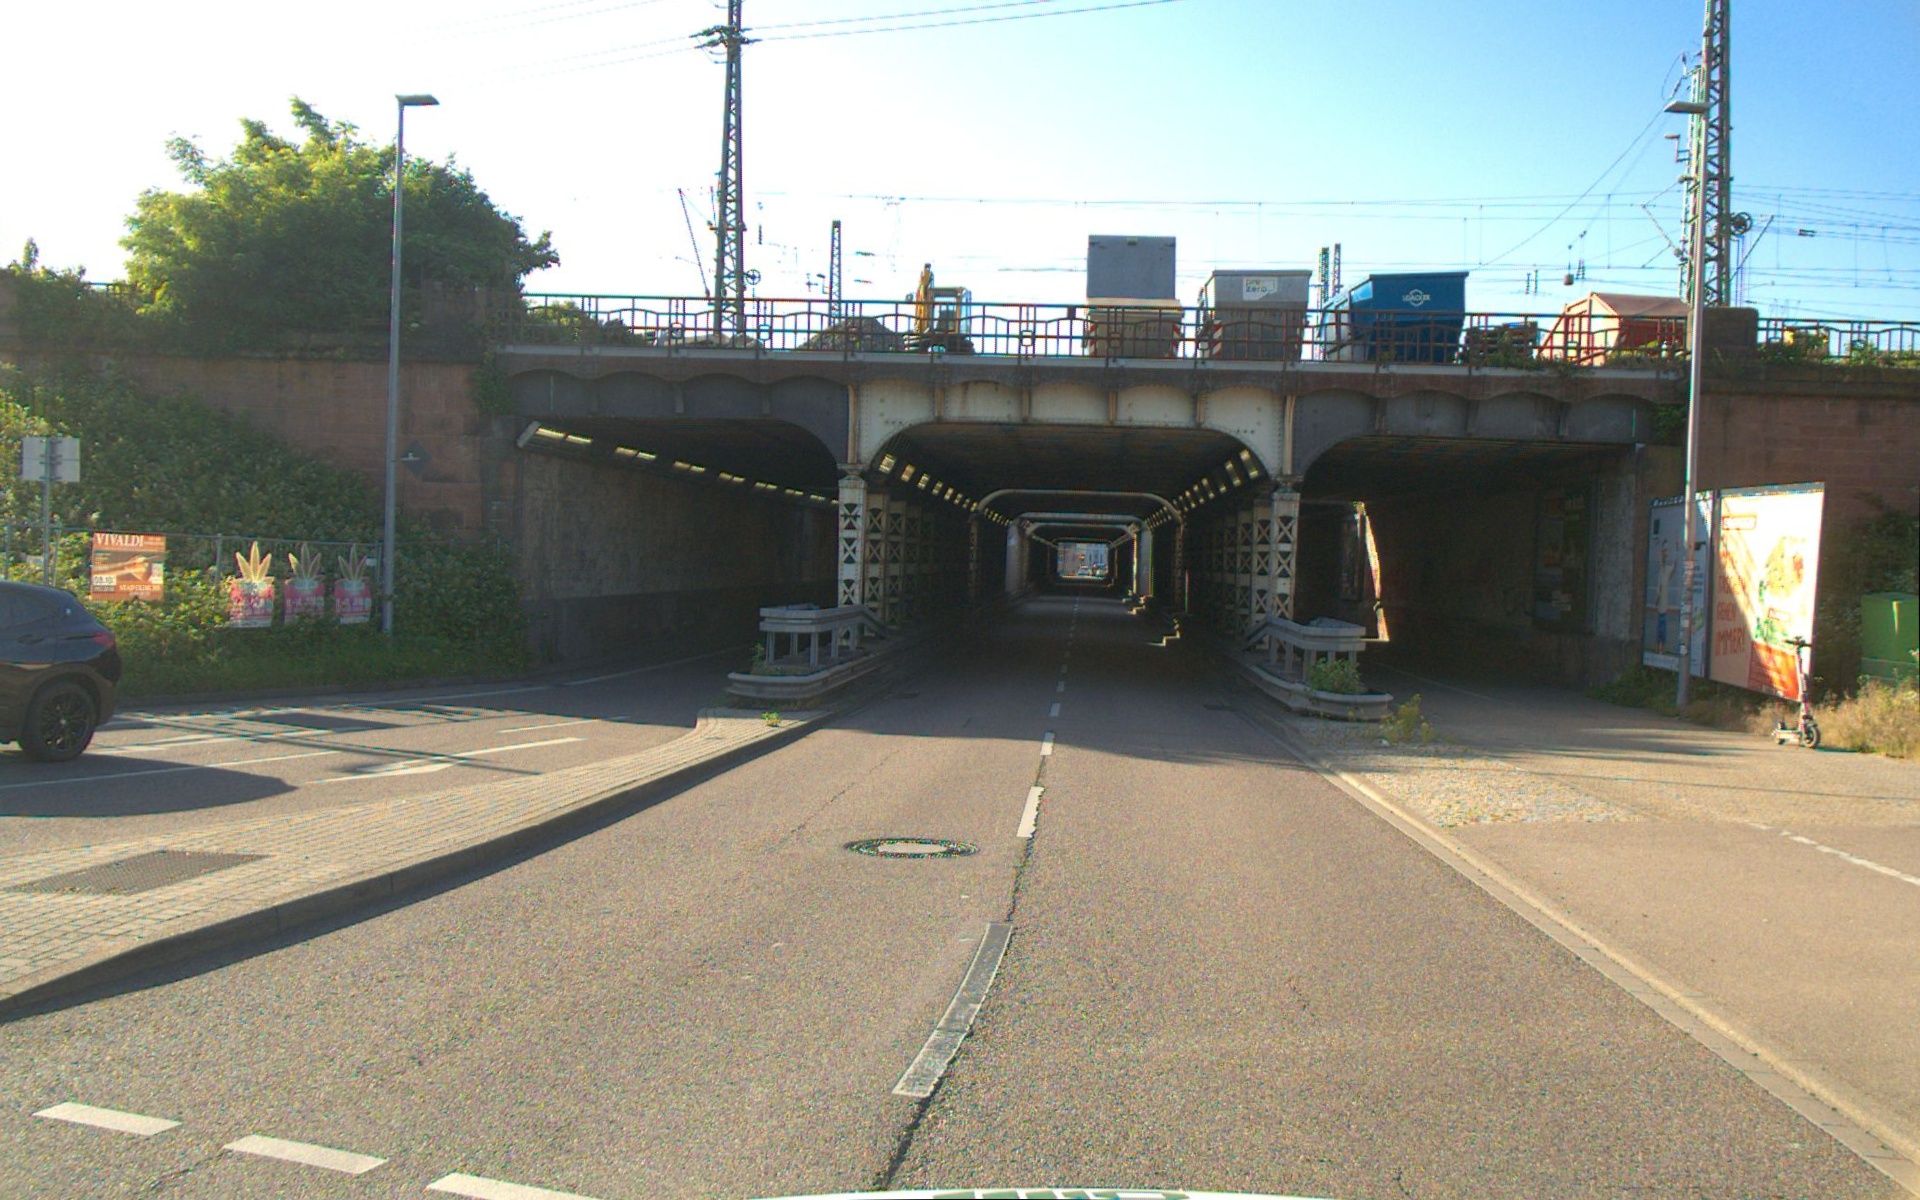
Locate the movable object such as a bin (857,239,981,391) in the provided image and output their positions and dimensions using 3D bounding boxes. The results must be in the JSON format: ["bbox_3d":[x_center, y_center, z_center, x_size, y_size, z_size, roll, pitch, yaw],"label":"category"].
[{"bbox_3d":[-0.773,-5.828,34.477,1.951,2.265,4.833,2,0,5],"label":"movable object such as a bin"}]

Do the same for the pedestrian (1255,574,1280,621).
[{"bbox_3d":[12.288,-0.116,66.135,0.862,1.867,0.923,-1,1,1],"label":"pedestrian"}]

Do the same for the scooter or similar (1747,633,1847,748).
[{"bbox_3d":[9.507,1.010,18.830,0.526,1.218,1.292,2,0,4],"label":"scooter or similar"}]

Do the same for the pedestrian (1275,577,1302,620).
[{"bbox_3d":[13.110,-0.076,66.007,0.897,1.685,0.886,-1,1,1],"label":"pedestrian"}]

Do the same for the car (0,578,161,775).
[{"bbox_3d":[-8.659,0.581,12.829,1.909,1.544,4.389,2,0,18],"label":"car"}]

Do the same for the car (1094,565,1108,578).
[{"bbox_3d":[21.486,-4.335,251.993,1.952,1.815,4.003,1,1,4],"label":"car"}]
